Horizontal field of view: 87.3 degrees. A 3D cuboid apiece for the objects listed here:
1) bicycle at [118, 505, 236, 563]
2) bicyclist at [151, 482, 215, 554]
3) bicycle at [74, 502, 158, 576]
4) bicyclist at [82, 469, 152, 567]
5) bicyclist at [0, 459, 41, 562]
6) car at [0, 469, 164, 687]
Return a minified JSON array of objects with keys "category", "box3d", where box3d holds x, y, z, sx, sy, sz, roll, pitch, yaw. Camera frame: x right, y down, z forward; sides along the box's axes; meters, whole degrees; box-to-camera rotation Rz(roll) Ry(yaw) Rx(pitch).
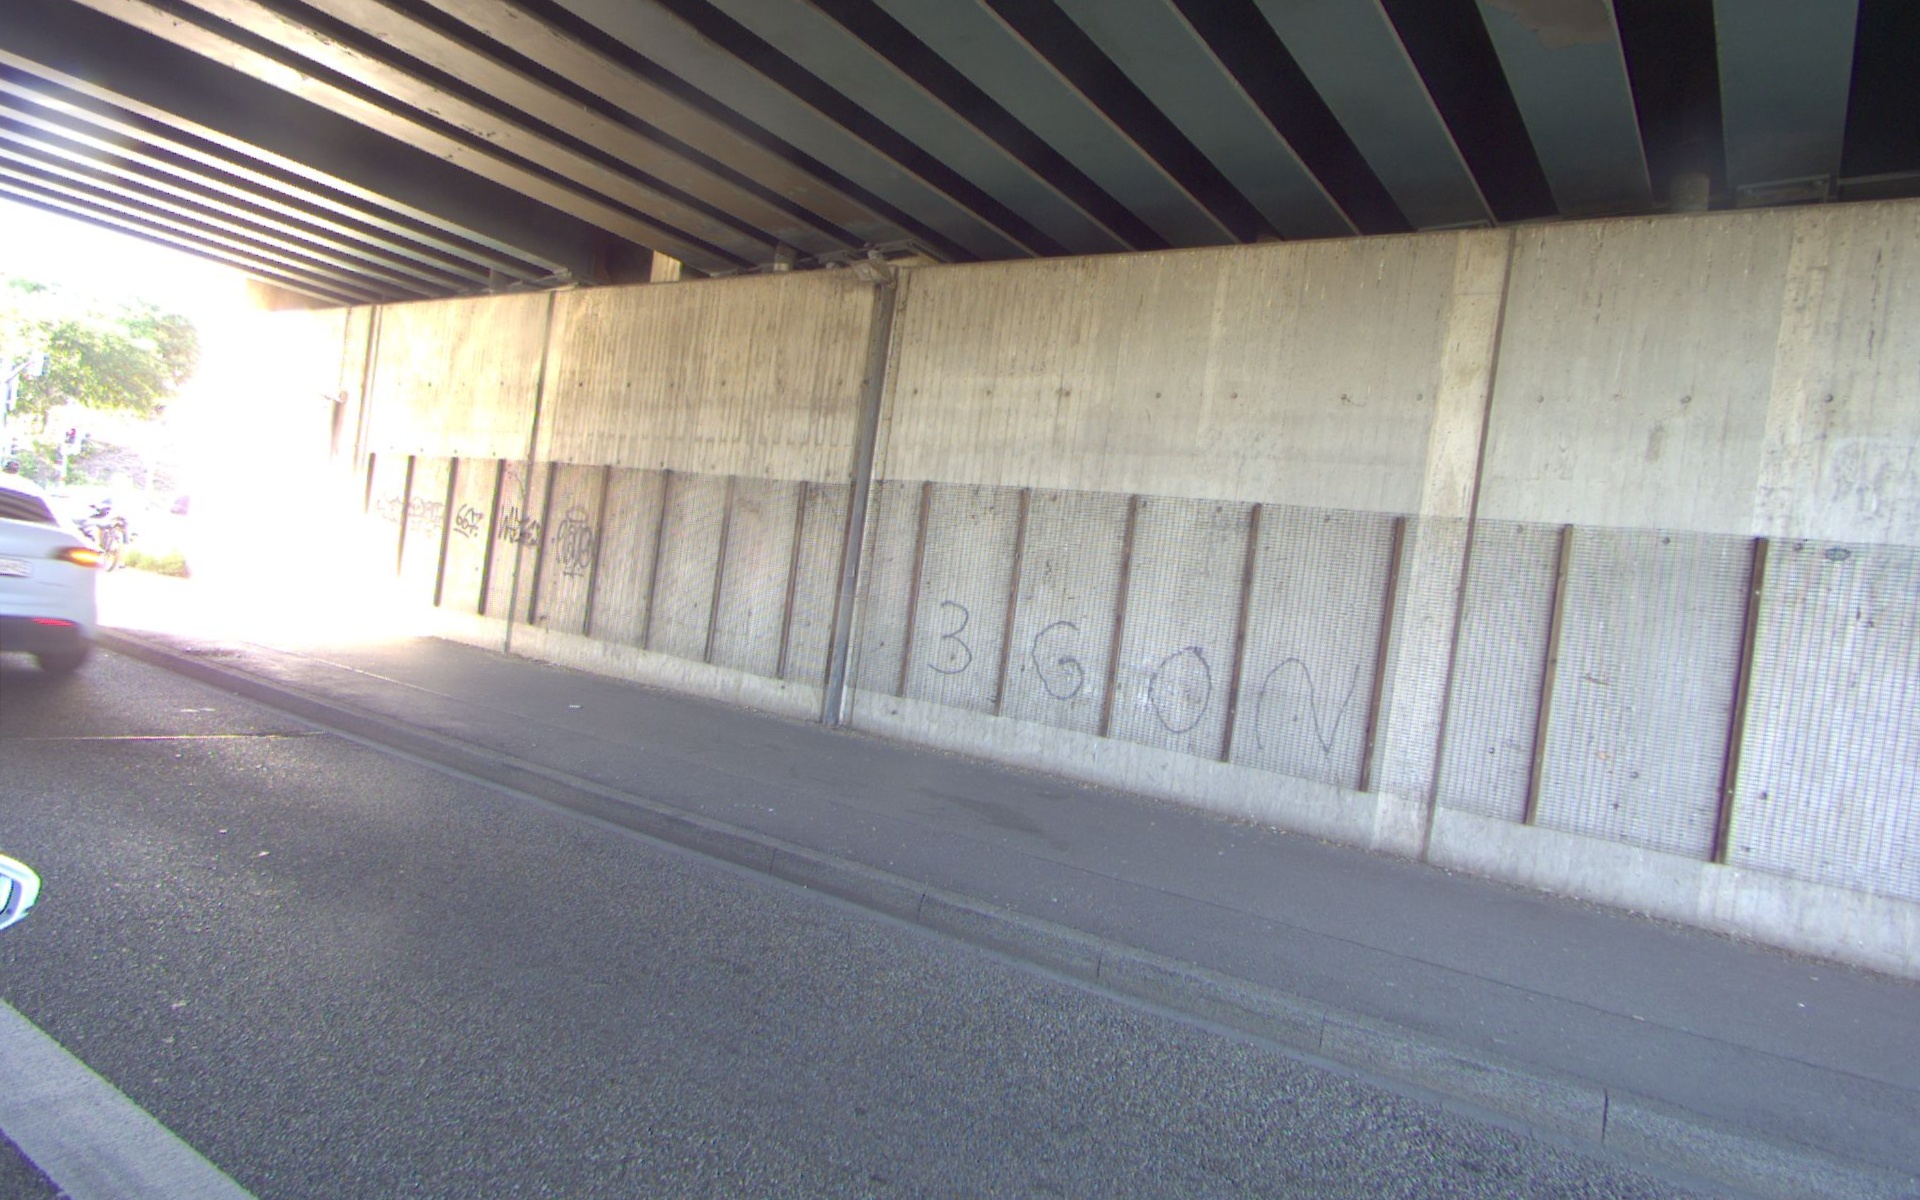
[{"category":"bicycle","box3d":[-20.020,-1.661,25.814,0.753,1.159,2.472,7,-1,8]},{"category":"bicyclist","box3d":[-19.956,-2.099,25.861,0.735,1.675,0.887,7,0,7]},{"category":"bicycle","box3d":[-14.692,-1.067,17.501,1.579,1.126,0.681,6,0,36]},{"category":"bicyclist","box3d":[-14.682,-1.422,17.515,0.724,1.581,0.670,7,0,36]},{"category":"bicyclist","box3d":[-16.080,-1.515,16.934,0.635,1.647,0.676,6,-2,42]},{"category":"car","box3d":[-8.971,-0.394,8.454,4.346,1.568,1.999,7,-3,30]}]
